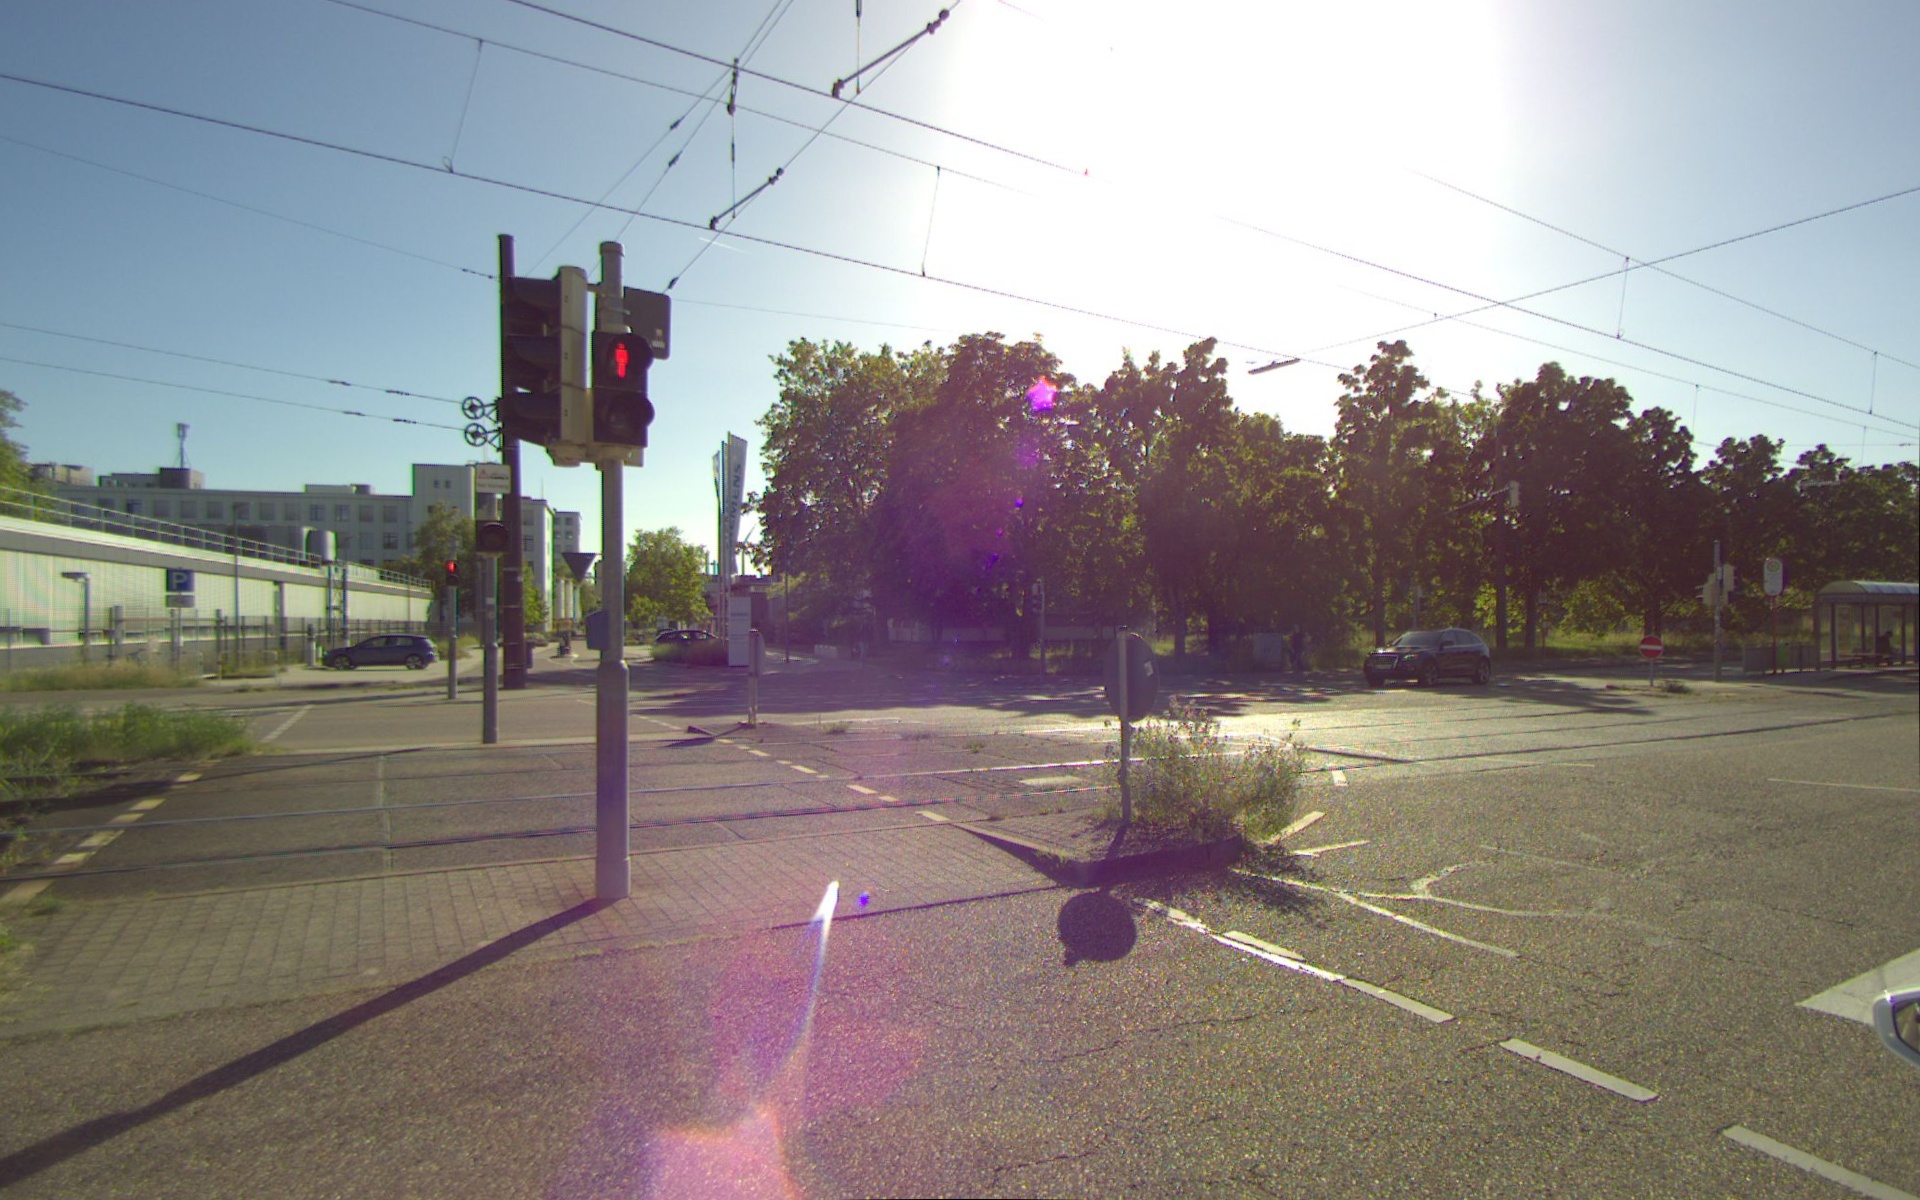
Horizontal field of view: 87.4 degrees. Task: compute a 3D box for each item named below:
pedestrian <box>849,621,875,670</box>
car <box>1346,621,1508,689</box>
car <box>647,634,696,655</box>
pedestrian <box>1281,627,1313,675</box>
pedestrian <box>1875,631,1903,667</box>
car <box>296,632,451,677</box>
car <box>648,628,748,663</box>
[{"bbox_3d":[-3.633,1.673,37.253,0.807,1.811,0.950,0,-1,-16],"label":"pedestrian"},{"bbox_3d":[13.766,1.569,29.563,4.740,1.833,2.082,0,-3,-32],"label":"car"},{"bbox_3d":[-22.919,3.504,79.718,3.566,1.611,1.792,1,-1,-23],"label":"car"},{"bbox_3d":[12.538,1.896,37.365,0.919,1.757,0.761,0,-1,-2],"label":"pedestrian"},{"bbox_3d":[33.455,1.756,36.181,0.574,1.273,0.561,1,-4,-31],"label":"pedestrian"},{"bbox_3d":[-24.404,2.275,42.054,5.210,1.772,2.164,1,-1,-19],"label":"car"},{"bbox_3d":[-13.542,2.347,51.869,4.768,1.751,2.042,1,-1,-21],"label":"car"}]
